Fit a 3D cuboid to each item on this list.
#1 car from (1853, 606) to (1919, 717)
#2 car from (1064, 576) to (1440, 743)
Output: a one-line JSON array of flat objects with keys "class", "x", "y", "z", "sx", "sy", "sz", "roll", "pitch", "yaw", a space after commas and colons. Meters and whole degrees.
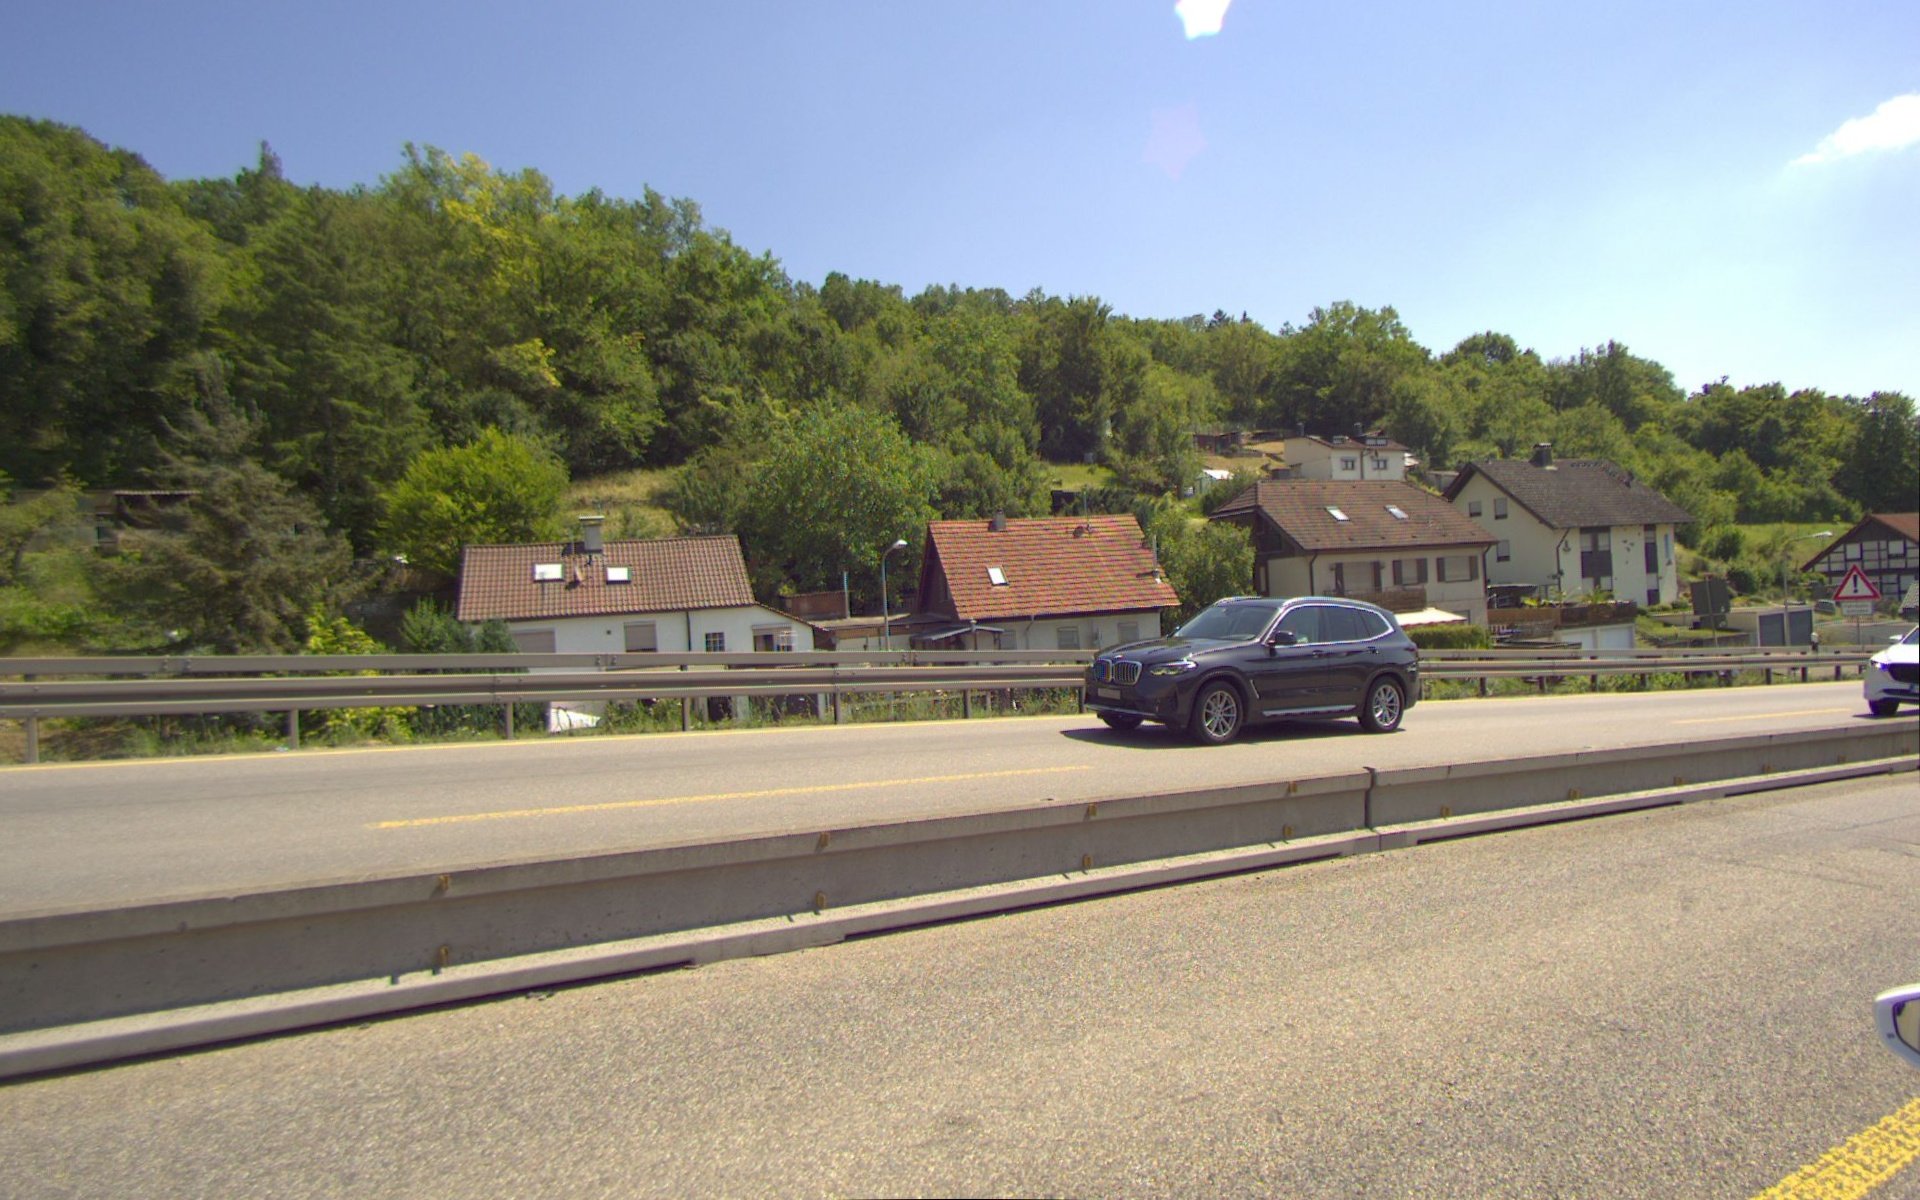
[{"class": "car", "x": 16.682, "y": 1.027, "z": 16.477, "sx": 4.335, "sy": 1.709, "sz": 1.742, "roll": 2, "pitch": -1, "yaw": -30}, {"class": "car", "x": 3.735, "y": 0.715, "z": 12.609, "sx": 4.608, "sy": 1.765, "sz": 1.896, "roll": 2, "pitch": -1, "yaw": -31}]
